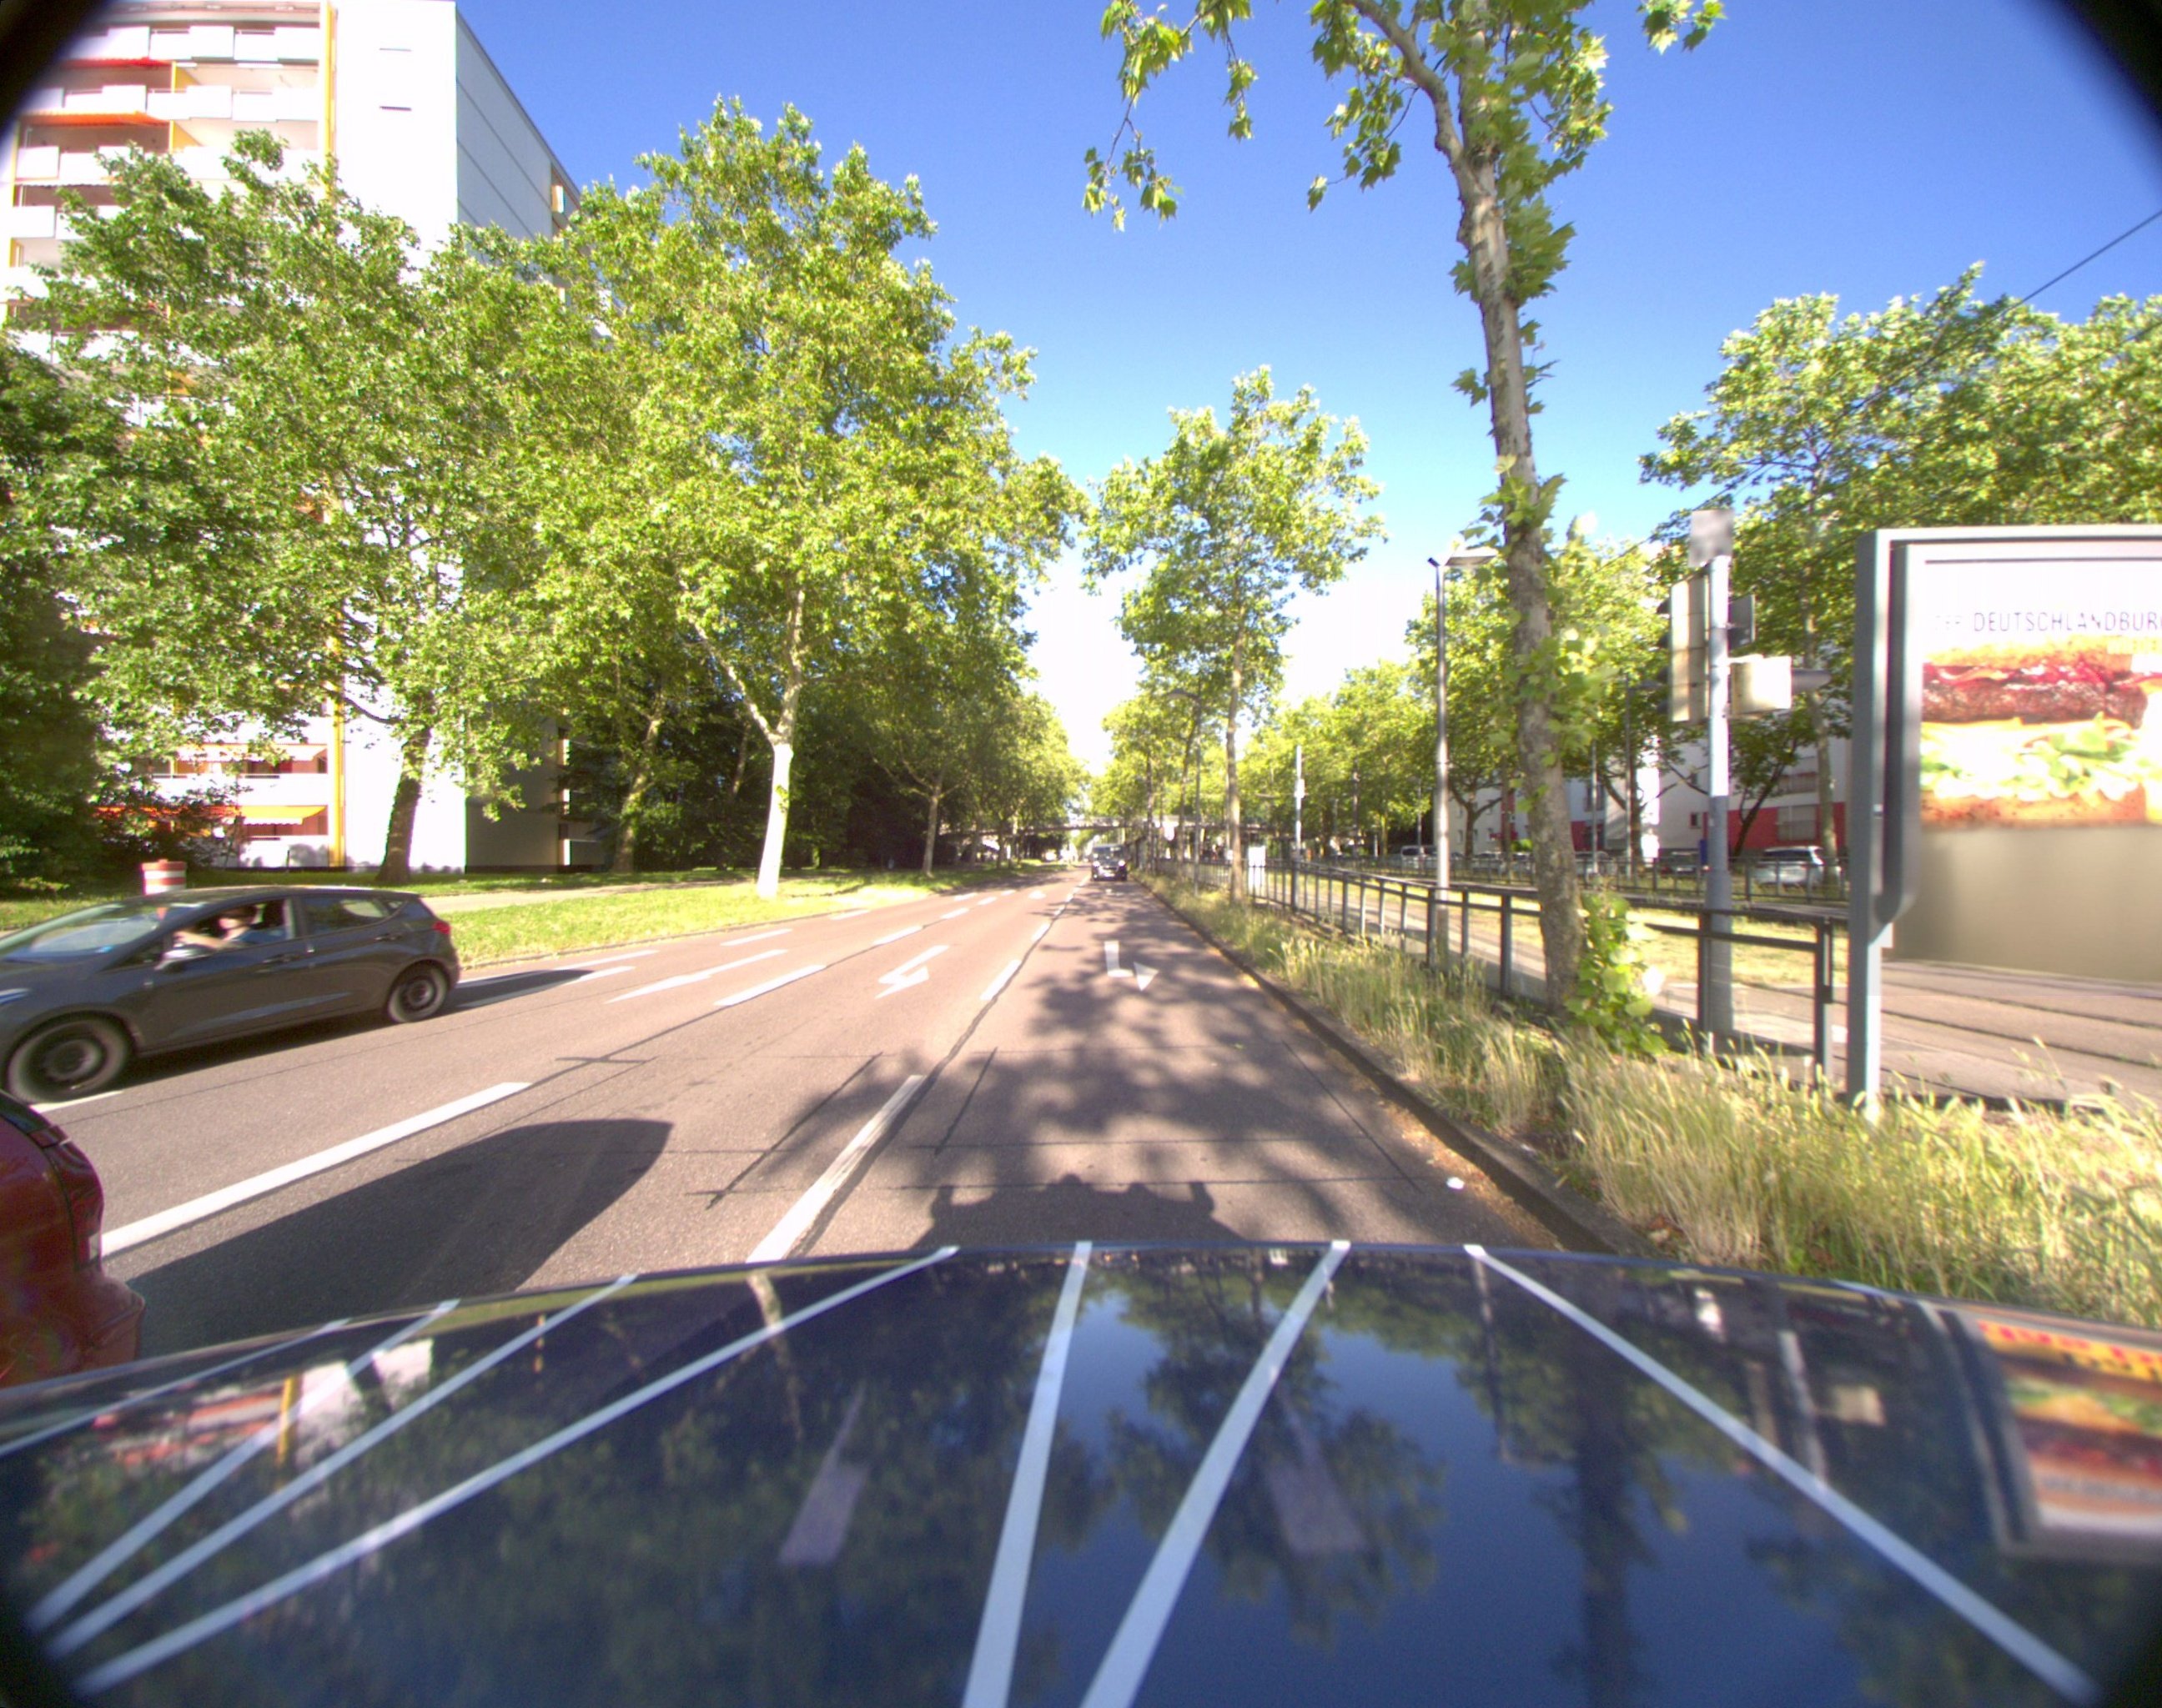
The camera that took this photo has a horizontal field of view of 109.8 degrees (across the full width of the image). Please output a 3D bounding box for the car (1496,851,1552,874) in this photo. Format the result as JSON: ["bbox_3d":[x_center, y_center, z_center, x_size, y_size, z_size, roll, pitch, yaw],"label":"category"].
[{"bbox_3d":[26.193,0.480,44.940,3.689,1.234,1.645,-1,1,-39],"label":"car"}]

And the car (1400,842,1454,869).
[{"bbox_3d":[25.953,0.083,56.972,4.376,1.873,1.919,-1,1,-39],"label":"car"}]

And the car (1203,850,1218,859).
[{"bbox_3d":[22.909,0.010,134.731,1.923,1.565,4.368,-1,0,2],"label":"car"}]

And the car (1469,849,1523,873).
[{"bbox_3d":[25.950,0.414,47.475,3.689,1.440,1.645,-1,1,-39],"label":"car"}]

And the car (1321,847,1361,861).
[{"bbox_3d":[27.232,0.022,79.555,4.376,1.367,1.919,-1,1,-39],"label":"car"}]

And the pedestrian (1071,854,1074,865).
[{"bbox_3d":[-1.160,0.786,102.730,0.398,1.454,0.417,-1,1,-3],"label":"pedestrian"}]

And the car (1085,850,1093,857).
[{"bbox_3d":[2.137,-0.206,208.548,2.040,1.995,5.113,-1,0,1],"label":"car"}]

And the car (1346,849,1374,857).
[{"bbox_3d":[45.124,-0.149,122.805,4.021,1.335,1.623,-1,1,7],"label":"car"}]

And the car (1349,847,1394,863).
[{"bbox_3d":[26.891,0.121,70.215,4.376,1.367,1.919,-1,1,-39],"label":"car"}]

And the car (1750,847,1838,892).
[{"bbox_3d":[25.051,0.493,26.666,3.689,1.425,1.683,-1,1,-38],"label":"car"}]

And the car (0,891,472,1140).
[{"bbox_3d":[-7.820,1.159,6.514,1.749,1.460,3.894,-1,0,7],"label":"car"}]

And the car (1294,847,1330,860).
[{"bbox_3d":[27.190,-0.062,89.408,4.376,1.367,1.919,-1,1,-39],"label":"car"}]

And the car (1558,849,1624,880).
[{"bbox_3d":[25.324,0.500,37.670,3.689,1.384,1.645,-1,1,-38],"label":"car"}]

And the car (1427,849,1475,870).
[{"bbox_3d":[26.238,0.346,53.878,3.689,1.388,1.645,-1,1,-39],"label":"car"}]

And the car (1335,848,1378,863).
[{"bbox_3d":[26.579,0.097,73.258,4.376,1.367,1.919,-1,1,-39],"label":"car"}]

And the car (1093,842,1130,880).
[{"bbox_3d":[1.754,0.376,45.225,2.040,2.102,5.113,-1,0,1],"label":"car"}]

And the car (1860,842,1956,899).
[{"bbox_3d":[25.013,0.461,22.940,3.689,1.558,1.683,-1,1,-38],"label":"car"}]

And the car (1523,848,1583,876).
[{"bbox_3d":[25.804,0.428,41.498,3.689,1.440,1.645,-1,1,-39],"label":"car"}]
